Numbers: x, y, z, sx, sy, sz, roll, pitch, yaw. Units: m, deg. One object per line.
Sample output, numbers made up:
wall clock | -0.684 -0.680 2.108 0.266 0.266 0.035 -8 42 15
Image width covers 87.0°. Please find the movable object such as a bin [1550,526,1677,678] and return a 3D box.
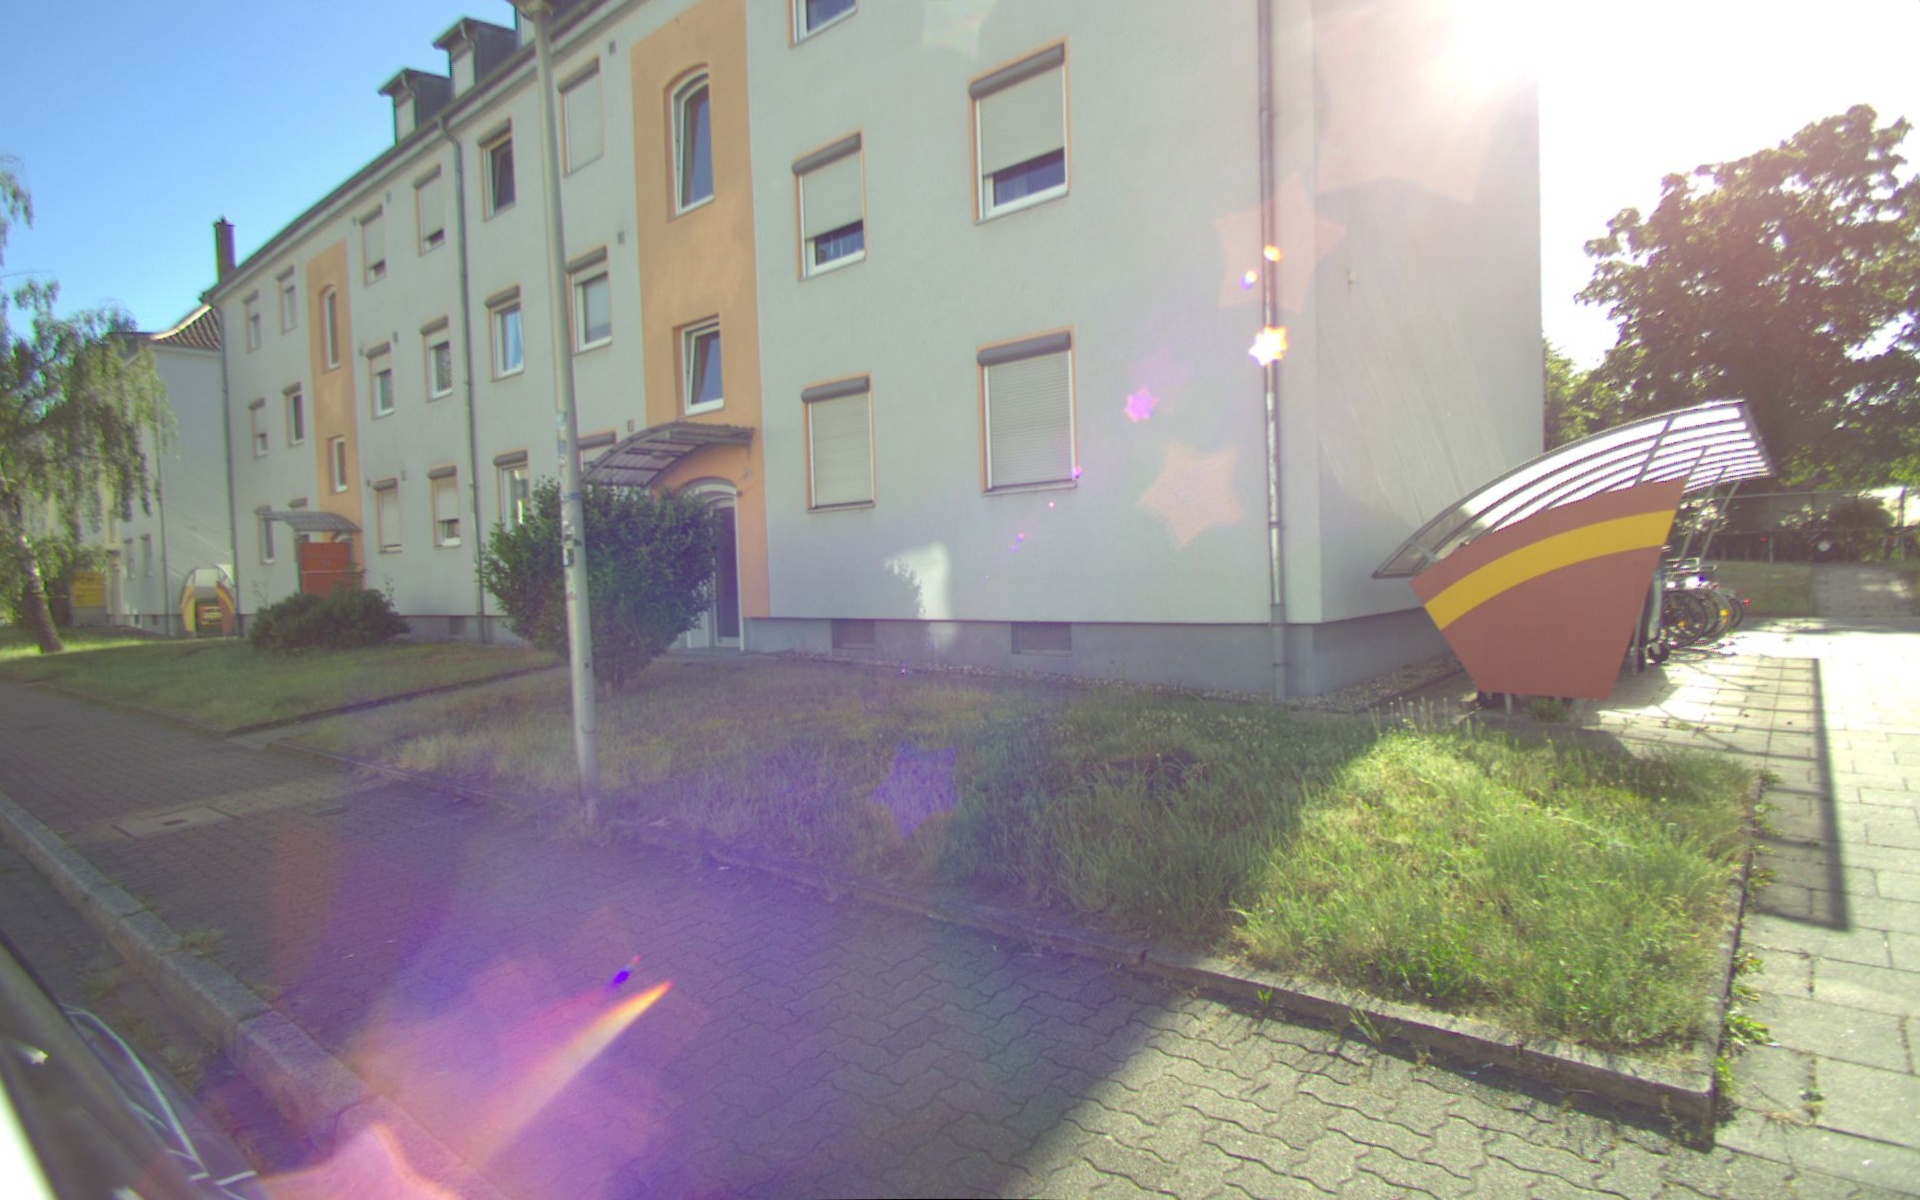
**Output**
movable object such as a bin | 6.738 0.009 10.426 0.946 1.453 1.049 -1 1 40

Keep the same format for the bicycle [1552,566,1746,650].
bicycle | 8.498 0.102 12.541 1.928 0.955 0.544 -1 3 41

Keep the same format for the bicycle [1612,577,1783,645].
bicycle | 9.476 0.145 13.045 1.732 0.803 0.503 -1 2 41

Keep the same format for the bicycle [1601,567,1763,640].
bicycle | 9.794 0.055 13.767 1.732 0.916 0.503 -1 2 41

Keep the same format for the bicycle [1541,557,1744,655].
bicycle | 8.078 0.072 12.043 1.940 1.075 0.503 -1 2 41

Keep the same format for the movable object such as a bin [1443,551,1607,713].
movable object such as a bin | 4.579 0.220 8.172 0.909 1.177 1.300 -2 1 40

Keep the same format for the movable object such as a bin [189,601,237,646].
movable object such as a bin | -24.978 0.773 33.853 0.812 1.416 1.073 -2 2 41
